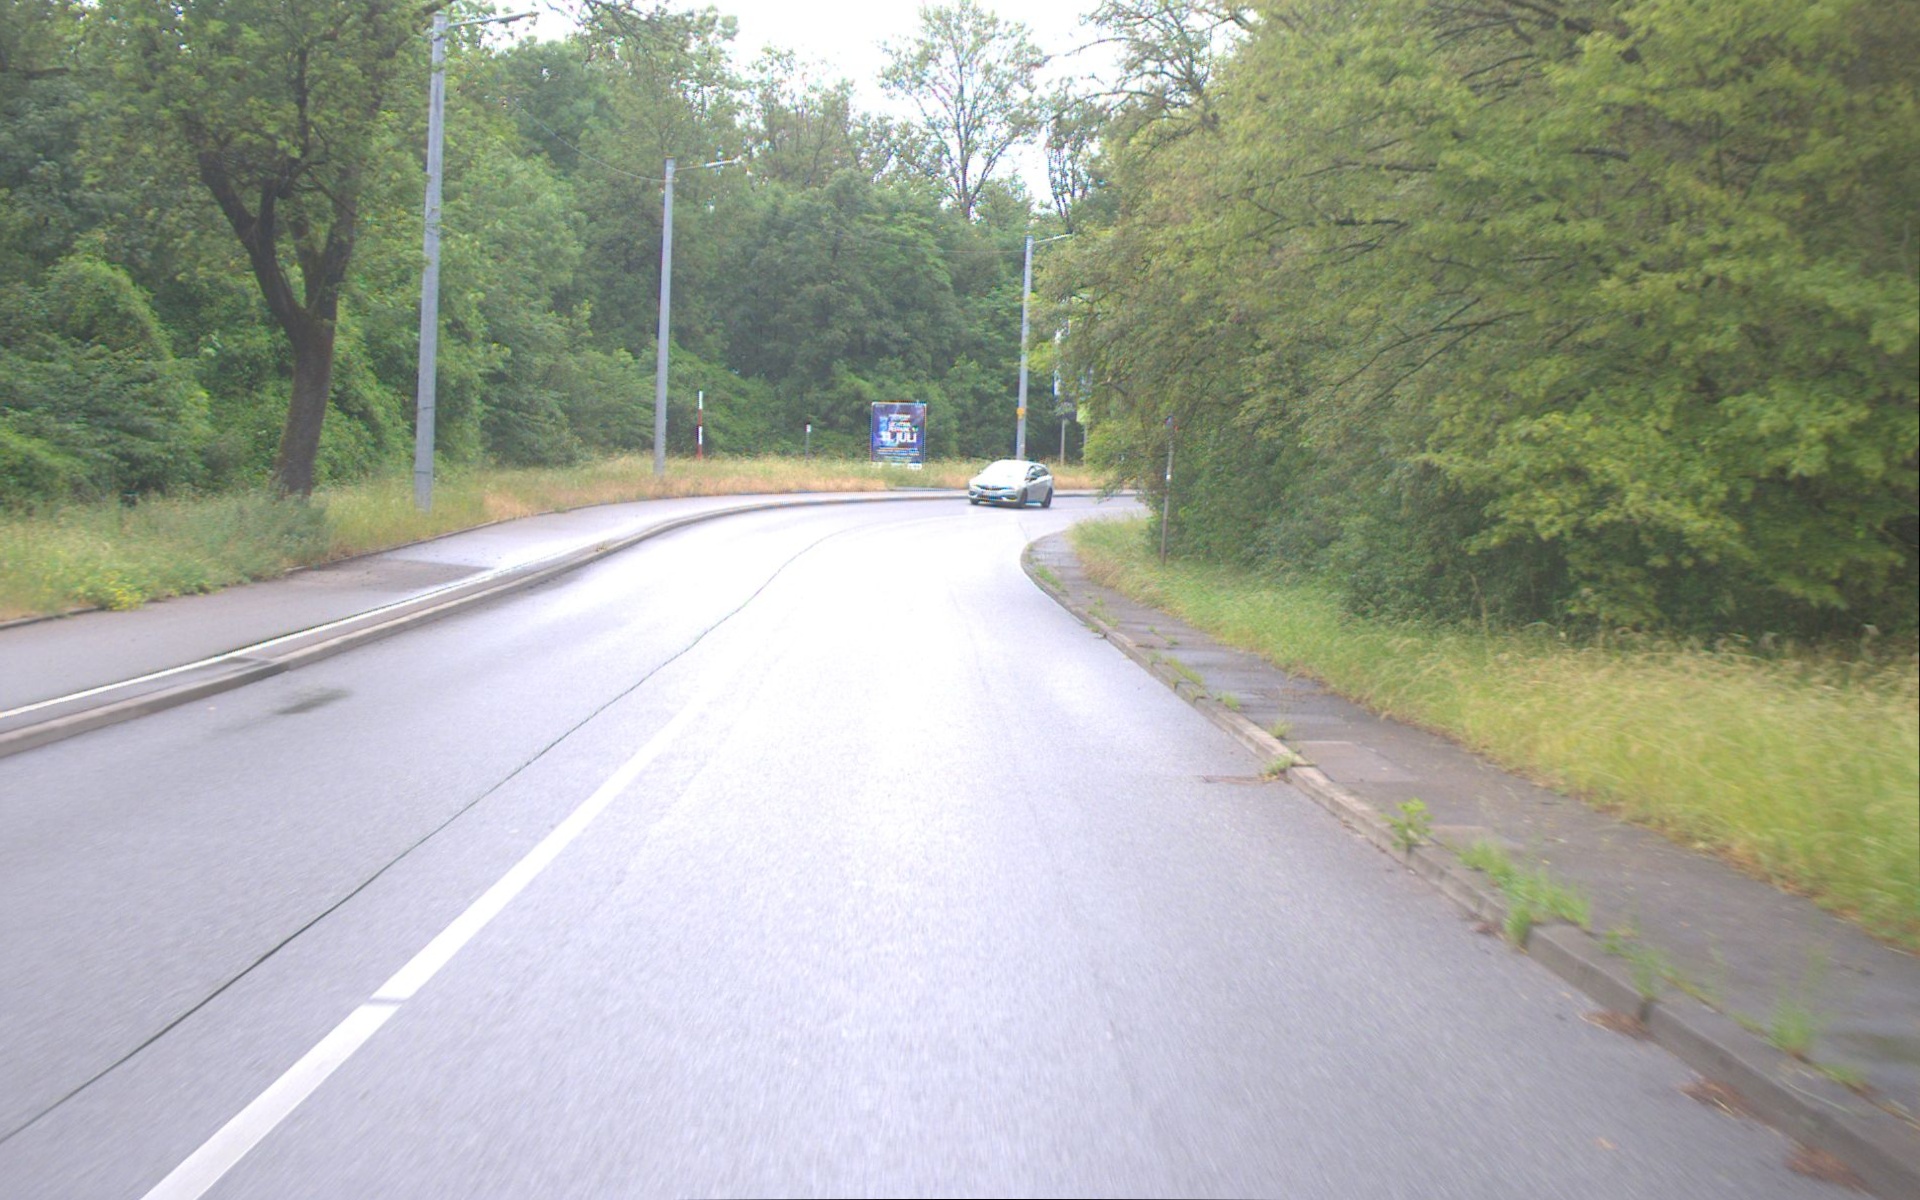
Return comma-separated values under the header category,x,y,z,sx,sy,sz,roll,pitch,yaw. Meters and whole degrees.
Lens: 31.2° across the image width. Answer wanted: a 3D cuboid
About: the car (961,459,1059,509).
category,x,y,z,sx,sy,sz,roll,pitch,yaw
car,1.654,-3.778,111.216,1.782,1.425,4.471,7,4,18
